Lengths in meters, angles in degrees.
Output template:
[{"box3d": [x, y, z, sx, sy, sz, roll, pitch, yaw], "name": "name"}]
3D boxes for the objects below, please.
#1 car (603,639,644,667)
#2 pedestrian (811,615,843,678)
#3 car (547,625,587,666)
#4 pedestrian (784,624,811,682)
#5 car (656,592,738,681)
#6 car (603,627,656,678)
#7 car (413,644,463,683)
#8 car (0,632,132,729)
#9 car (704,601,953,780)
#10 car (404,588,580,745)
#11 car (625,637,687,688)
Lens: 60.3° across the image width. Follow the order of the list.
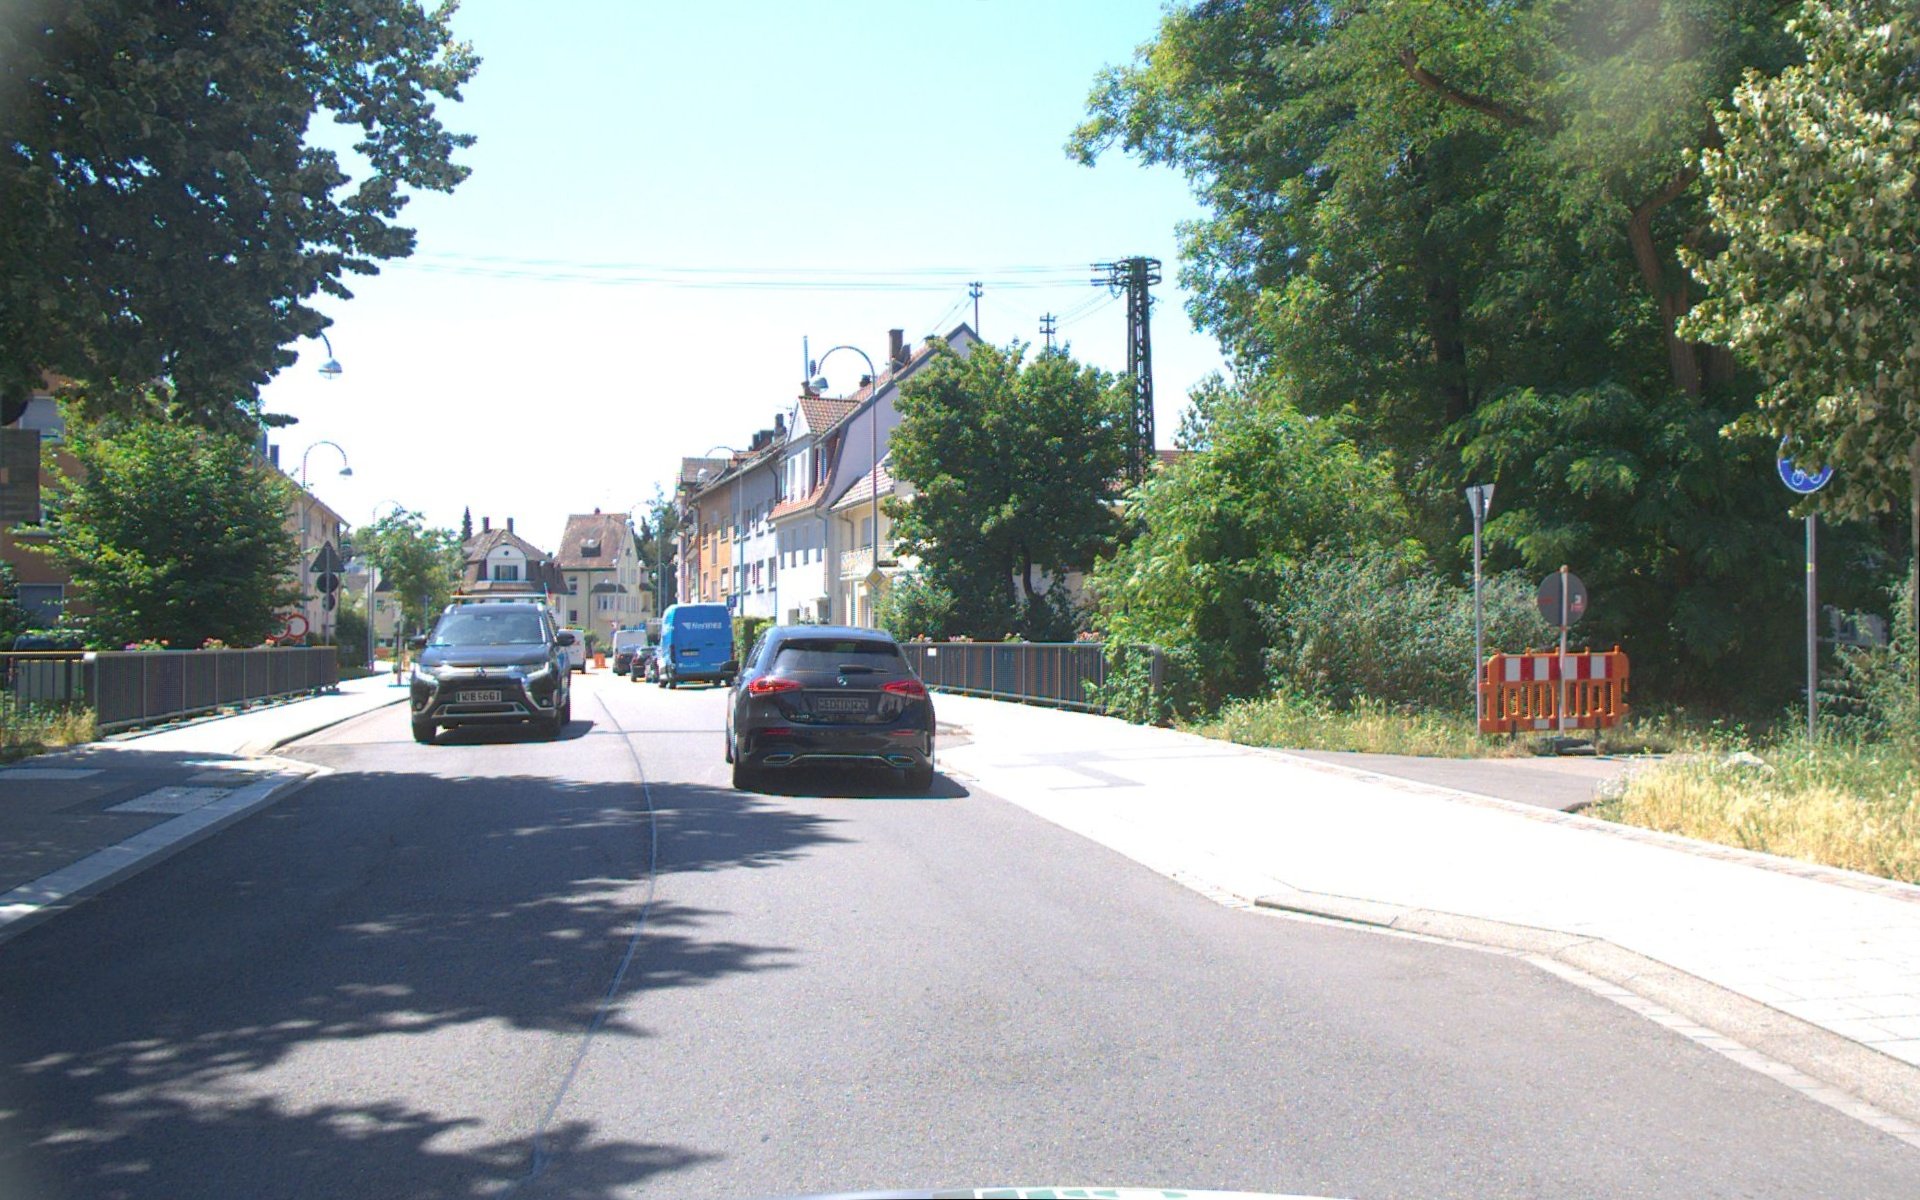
[{"box3d": [-18.441, 2.880, 90.569, 1.961, 1.416, 4.311, 0, 0, -15], "name": "car"}, {"box3d": [-3.780, 1.305, 46.959, 0.654, 1.772, 0.694, 1, -2, -32], "name": "pedestrian"}, {"box3d": [-23.844, 2.734, 100.172, 2.207, 2.384, 4.833, 1, 0, -15], "name": "car"}, {"box3d": [-4.679, 1.519, 47.697, 0.604, 1.641, 0.833, 0, -2, -20], "name": "pedestrian"}, {"box3d": [-8.147, 1.118, 50.838, 2.097, 2.586, 4.631, 0, -1, -14], "name": "car"}, {"box3d": [-13.981, 2.170, 69.827, 1.961, 2.049, 3.983, 0, 0, -15], "name": "car"}, {"box3d": [-24.534, 2.969, 77.844, 1.960, 1.689, 3.984, 2, -2, -15], "name": "car"}, {"box3d": [-20.649, 1.808, 38.313, 1.962, 2.049, 3.981, 0, 0, -17], "name": "car"}, {"box3d": [-1.391, 0.869, 15.798, 1.796, 1.467, 3.985, 0, -4, -13], "name": "car"}, {"box3d": [-6.025, 0.803, 21.704, 1.709, 1.803, 4.327, -2, 0, -10], "name": "car"}, {"box3d": [-11.566, 2.349, 62.781, 1.961, 1.776, 4.311, 0, 0, -15], "name": "car"}]
